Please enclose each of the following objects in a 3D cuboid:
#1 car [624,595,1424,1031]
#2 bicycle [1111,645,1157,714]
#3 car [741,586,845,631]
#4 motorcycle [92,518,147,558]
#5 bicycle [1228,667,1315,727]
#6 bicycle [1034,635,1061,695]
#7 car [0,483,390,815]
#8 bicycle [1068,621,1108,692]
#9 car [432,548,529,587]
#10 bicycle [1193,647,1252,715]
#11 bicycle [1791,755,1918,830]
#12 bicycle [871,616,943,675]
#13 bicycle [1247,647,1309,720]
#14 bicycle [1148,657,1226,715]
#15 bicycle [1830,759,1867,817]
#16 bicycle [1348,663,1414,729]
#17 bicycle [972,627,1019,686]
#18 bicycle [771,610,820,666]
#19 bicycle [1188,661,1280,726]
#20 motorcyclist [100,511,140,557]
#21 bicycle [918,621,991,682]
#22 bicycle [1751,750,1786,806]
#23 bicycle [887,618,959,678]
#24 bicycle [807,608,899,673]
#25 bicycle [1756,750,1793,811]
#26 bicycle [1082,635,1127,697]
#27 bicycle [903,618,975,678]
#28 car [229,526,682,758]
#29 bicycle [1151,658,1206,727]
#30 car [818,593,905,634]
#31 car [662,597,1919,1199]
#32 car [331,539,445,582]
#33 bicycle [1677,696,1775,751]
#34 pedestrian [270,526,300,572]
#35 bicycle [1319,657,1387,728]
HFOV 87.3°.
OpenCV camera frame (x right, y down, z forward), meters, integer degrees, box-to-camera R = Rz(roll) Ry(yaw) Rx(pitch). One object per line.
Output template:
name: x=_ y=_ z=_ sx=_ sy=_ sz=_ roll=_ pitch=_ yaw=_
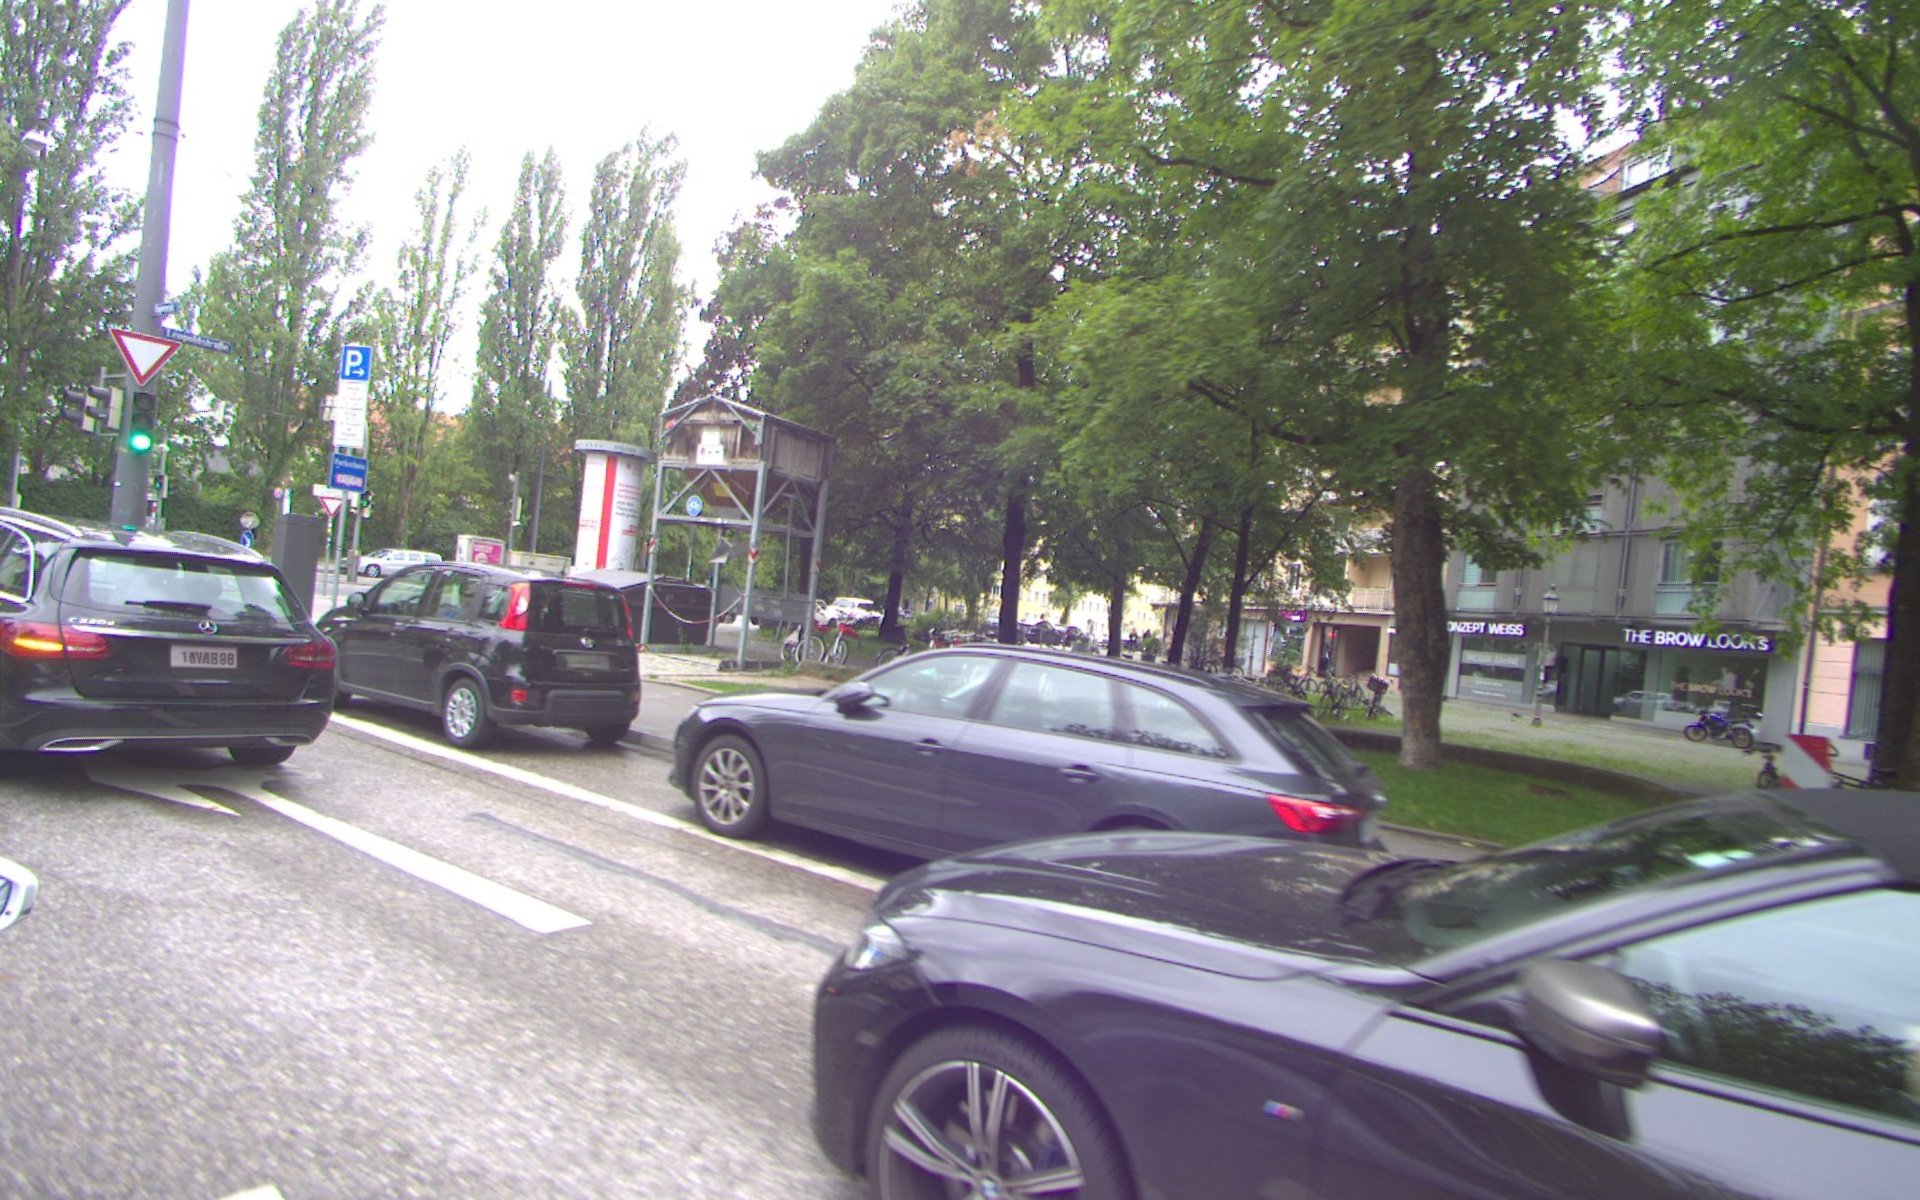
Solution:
car: x=0.232 y=0.973 z=6.271 sx=4.564 sy=1.479 sz=1.770 roll=6 pitch=0 yaw=31
bicycle: x=3.814 y=1.720 z=22.219 sx=0.619 sy=1.372 sz=2.472 roll=6 pitch=-2 yaw=4
car: x=-6.610 y=0.388 z=40.302 sx=1.701 sy=1.424 sz=4.369 roll=6 pitch=0 yaw=28
motorcycle: x=-28.644 y=-2.113 z=34.295 sx=1.994 sy=1.183 sz=0.630 roll=6 pitch=-2 yaw=28
bicycle: x=5.577 y=1.729 z=18.051 sx=1.392 sy=0.904 sz=0.312 roll=5 pitch=-2 yaw=38
bicycle: x=1.431 y=1.043 z=16.403 sx=0.307 sy=0.905 sz=1.413 roll=6 pitch=-1 yaw=6
car: x=-6.035 y=0.114 z=6.676 sx=4.627 sy=1.567 sz=1.866 roll=6 pitch=-2 yaw=33
bicycle: x=2.790 y=1.201 z=22.126 sx=0.619 sy=1.374 sz=2.469 roll=6 pitch=0 yaw=4
car: x=-25.023 y=-1.681 z=52.658 sx=1.757 sy=1.504 sz=4.250 roll=6 pitch=-1 yaw=31
bicycle: x=3.858 y=1.168 z=14.847 sx=0.307 sy=0.904 sz=1.413 roll=7 pitch=-2 yaw=-4
bicycle: x=11.501 y=2.462 z=12.957 sx=1.163 sy=0.732 sz=0.317 roll=5 pitch=-2 yaw=44
bicycle: x=-0.910 y=0.813 z=17.562 sx=0.309 sy=0.904 sz=1.408 roll=5 pitch=-2 yaw=39
bicycle: x=7.199 y=1.864 z=22.907 sx=0.619 sy=1.374 sz=2.468 roll=6 pitch=1 yaw=3
bicycle: x=4.079 y=1.549 z=18.062 sx=1.395 sy=0.904 sz=0.311 roll=8 pitch=-2 yaw=-24
bicycle: x=12.648 y=2.660 z=14.326 sx=0.314 sy=0.732 sz=1.174 roll=5 pitch=-2 yaw=41
bicycle: x=10.672 y=2.401 z=25.620 sx=0.619 sy=1.374 sz=2.468 roll=6 pitch=1 yaw=3
bicycle: x=0.598 y=0.949 z=16.537 sx=0.307 sy=0.904 sz=1.414 roll=6 pitch=-2 yaw=18
bicycle: x=-3.124 y=0.704 z=19.036 sx=0.310 sy=0.904 sz=1.401 roll=7 pitch=0 yaw=-31
bicycle: x=4.584 y=1.558 z=16.870 sx=1.392 sy=0.904 sz=0.312 roll=5 pitch=-2 yaw=38
motorcyclist: x=-28.643 y=-2.249 z=34.299 sx=0.866 sy=1.460 sz=0.620 roll=6 pitch=-1 yaw=27
bicycle: x=-0.075 y=0.882 z=16.845 sx=0.309 sy=0.904 sz=1.408 roll=5 pitch=-2 yaw=39
bicycle: x=11.785 y=2.570 z=14.647 sx=0.314 sy=0.732 sz=1.174 roll=5 pitch=-2 yaw=41
bicycle: x=-0.621 y=0.837 z=17.335 sx=0.309 sy=0.904 sz=1.408 roll=5 pitch=-2 yaw=39
bicycle: x=-1.923 y=0.769 z=18.463 sx=0.619 sy=1.028 sz=2.241 roll=6 pitch=-2 yaw=22
bicycle: x=10.967 y=2.408 z=13.536 sx=0.314 sy=0.732 sz=1.174 roll=5 pitch=-2 yaw=41
bicycle: x=2.256 y=1.010 z=15.811 sx=0.307 sy=0.904 sz=1.413 roll=7 pitch=-2 yaw=-4
bicycle: x=-0.340 y=0.829 z=17.099 sx=0.309 sy=0.904 sz=1.408 roll=5 pitch=-2 yaw=39
car: x=-4.981 y=0.294 z=9.714 sx=4.481 sy=1.568 sz=1.832 roll=6 pitch=0 yaw=34
bicycle: x=3.186 y=1.331 z=14.770 sx=0.307 sy=0.904 sz=1.413 roll=7 pitch=-2 yaw=-4
car: x=-4.354 y=0.633 z=45.133 sx=1.701 sy=1.424 sz=4.369 roll=6 pitch=0 yaw=28
car: x=1.741 y=0.964 z=1.942 sx=4.721 sy=1.406 sz=1.725 roll=6 pitch=0 yaw=34
car: x=-27.172 y=-1.843 z=47.898 sx=1.757 sy=1.504 sz=4.344 roll=6 pitch=-1 yaw=31
bicycle: x=22.276 y=3.569 z=29.318 sx=0.500 sy=1.304 sz=2.239 roll=7 pitch=-2 yaw=-21
pedestrian: x=-26.237 y=-1.988 z=39.114 sx=0.692 sy=1.682 sz=0.550 roll=7 pitch=-1 yaw=-18
bicycle: x=9.263 y=2.153 z=23.830 sx=0.619 sy=1.374 sz=2.468 roll=6 pitch=1 yaw=3
